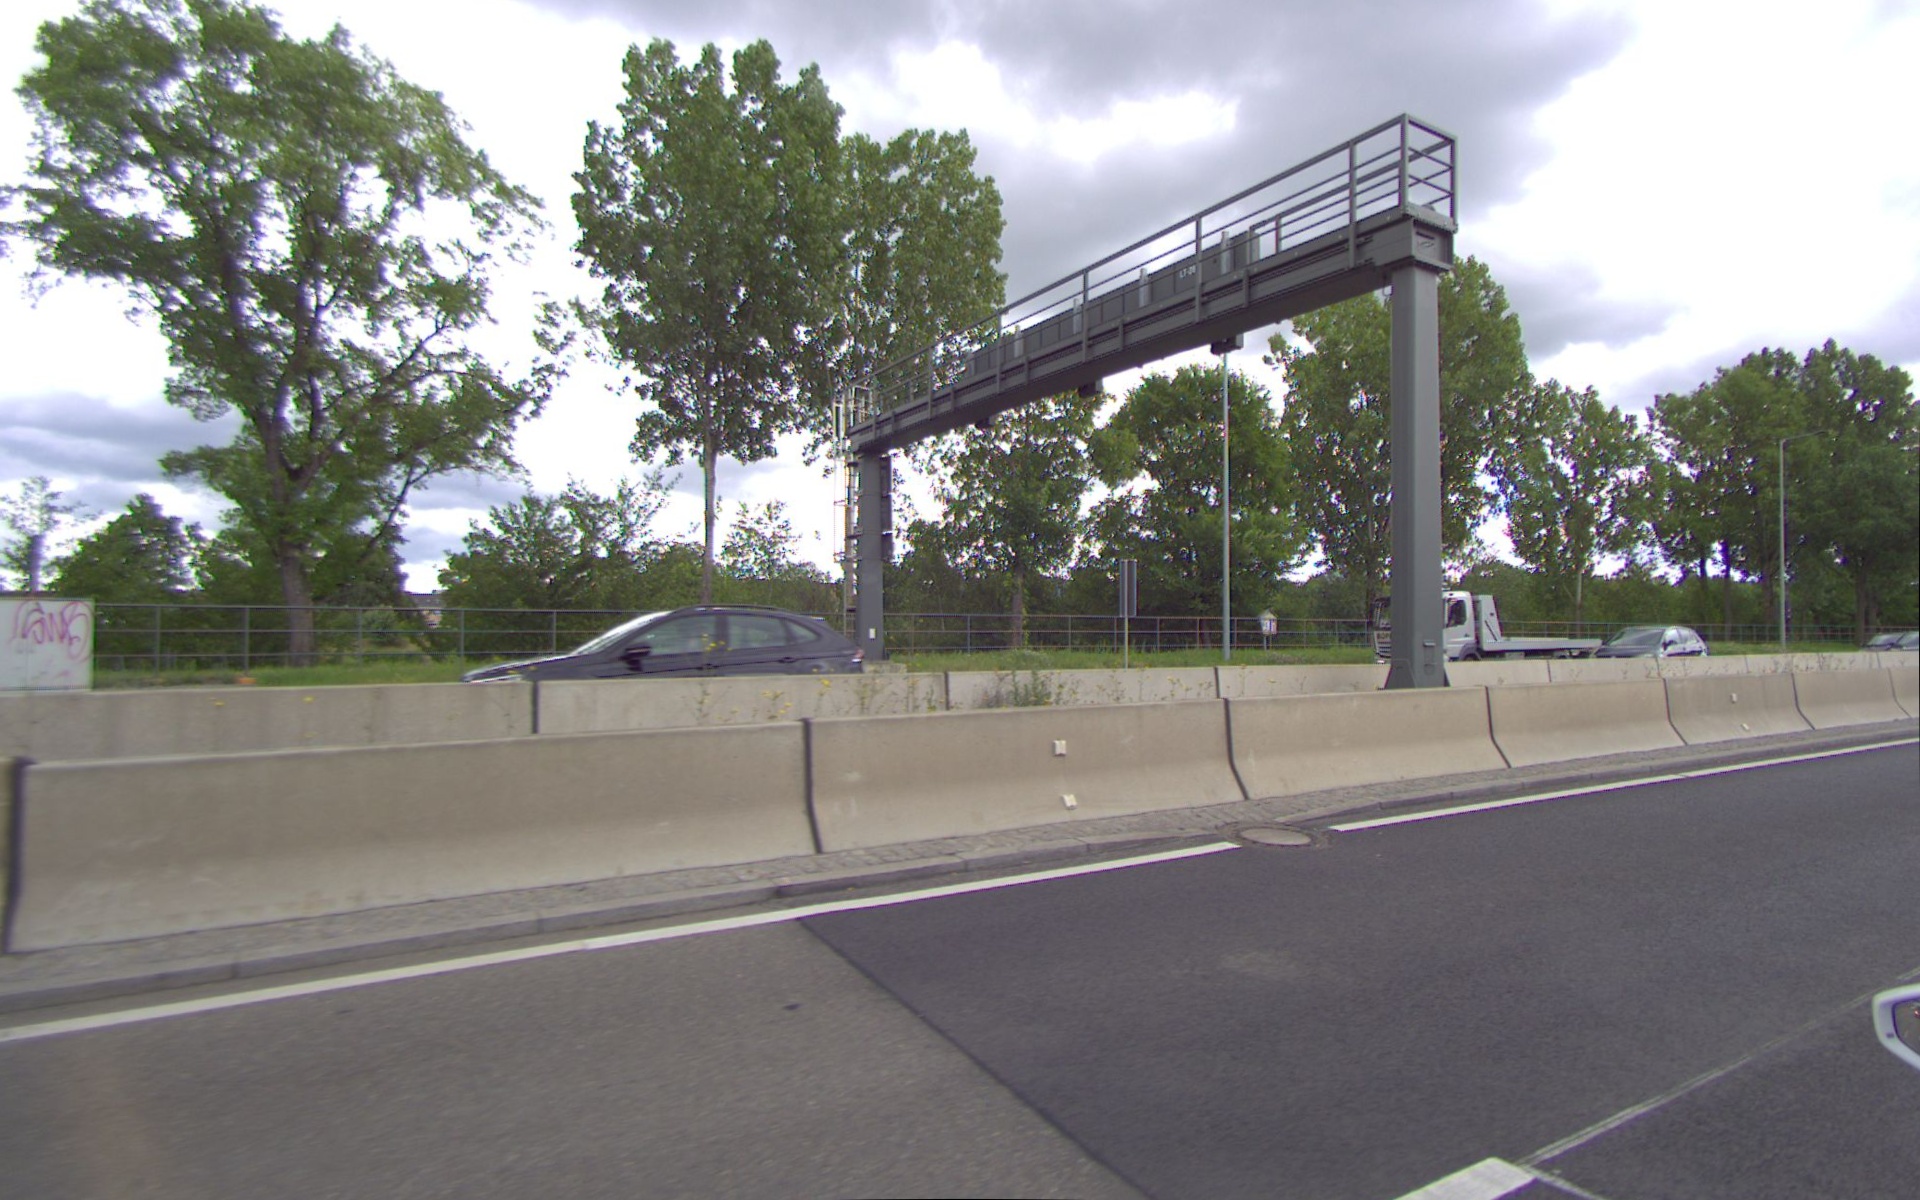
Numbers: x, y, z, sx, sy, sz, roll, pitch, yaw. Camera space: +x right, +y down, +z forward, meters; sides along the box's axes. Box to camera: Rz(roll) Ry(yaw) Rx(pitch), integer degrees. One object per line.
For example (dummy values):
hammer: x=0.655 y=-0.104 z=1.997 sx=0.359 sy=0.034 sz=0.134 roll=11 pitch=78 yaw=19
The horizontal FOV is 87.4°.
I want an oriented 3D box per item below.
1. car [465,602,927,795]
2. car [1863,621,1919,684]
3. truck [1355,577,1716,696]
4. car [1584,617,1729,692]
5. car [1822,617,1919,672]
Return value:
car: x=-2.744 y=0.889 z=10.673 sx=4.403 sy=1.639 sz=1.916 roll=1 pitch=1 yaw=-31
car: x=31.485 y=1.696 z=32.845 sx=3.954 sy=1.929 sz=1.807 roll=1 pitch=1 yaw=-31
truck: x=18.844 y=1.040 z=31.961 sx=15.707 sy=3.149 sz=2.838 roll=1 pitch=1 yaw=-32
car: x=19.473 y=1.474 z=28.052 sx=4.053 sy=1.902 sz=1.807 roll=1 pitch=1 yaw=-31
car: x=37.164 y=1.771 z=40.911 sx=3.954 sy=2.041 sz=1.983 roll=1 pitch=1 yaw=-31
